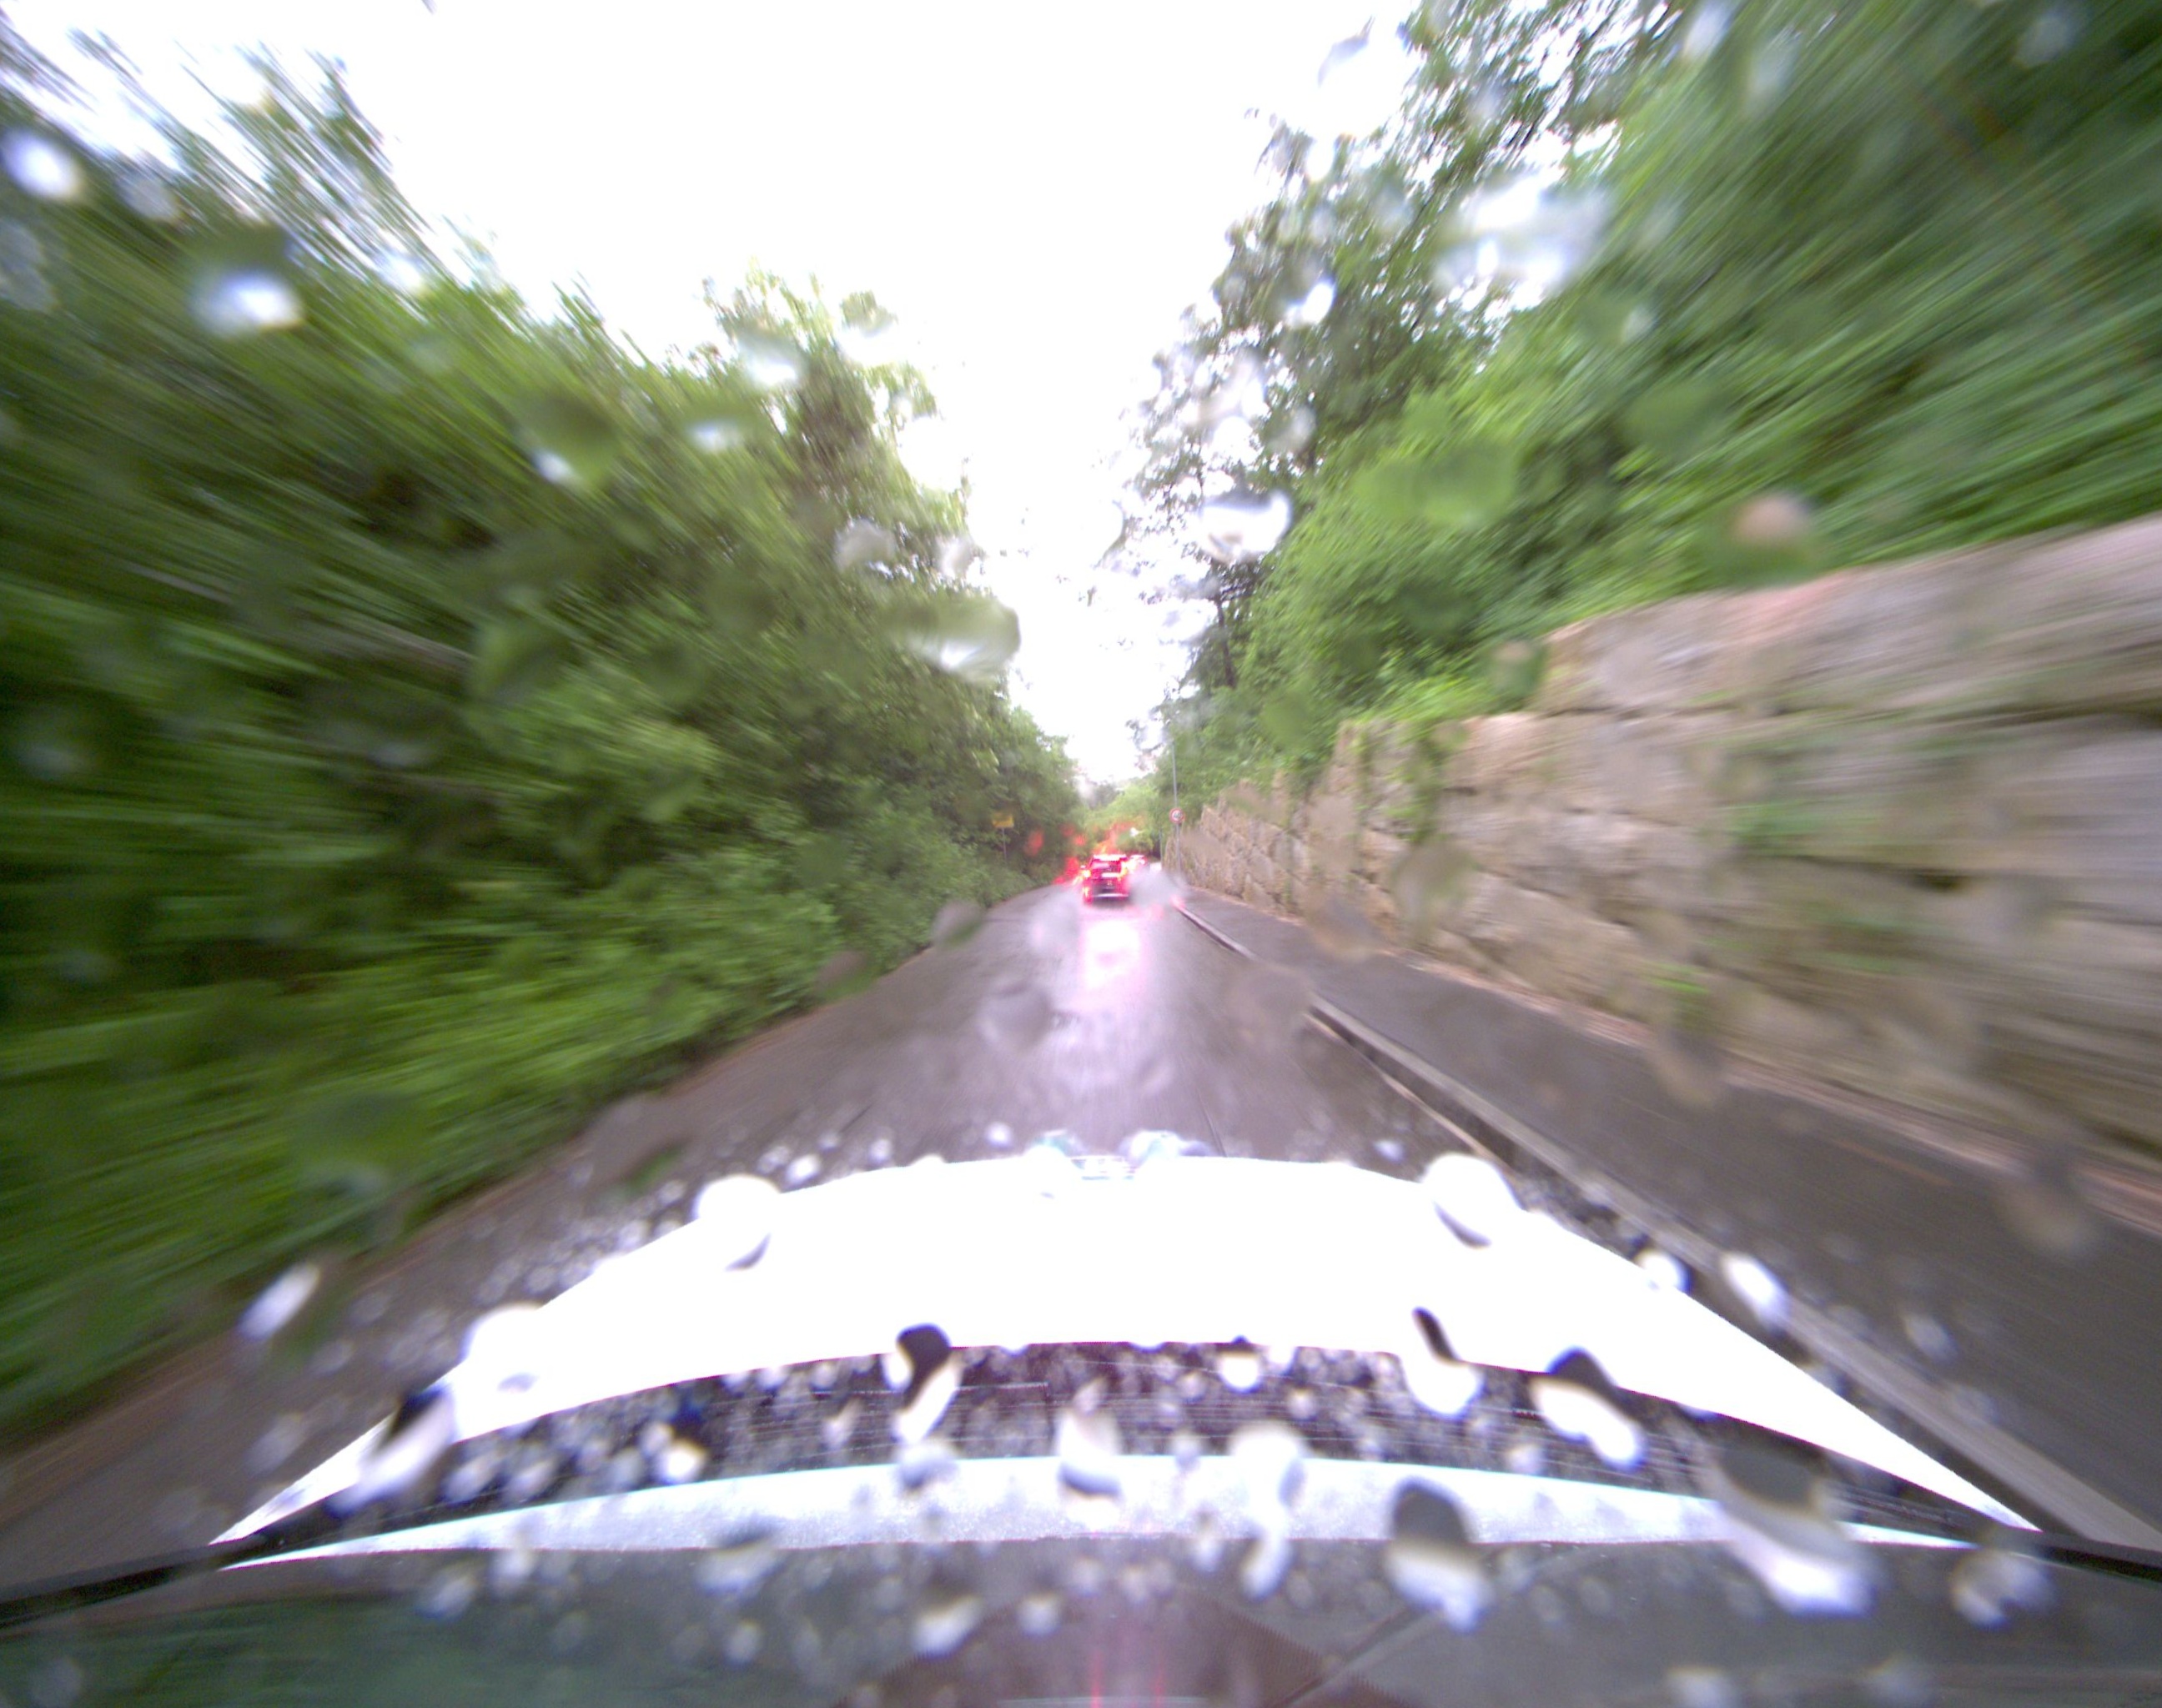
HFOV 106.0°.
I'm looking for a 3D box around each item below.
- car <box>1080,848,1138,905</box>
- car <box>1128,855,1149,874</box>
[{"bbox_3d":[0.867,0.672,26.818,1.694,1.450,4.000,-3,3,0],"label":"car"},{"bbox_3d":[5.483,0.967,77.739,1.855,1.743,4.004,-1,0,4],"label":"car"}]
